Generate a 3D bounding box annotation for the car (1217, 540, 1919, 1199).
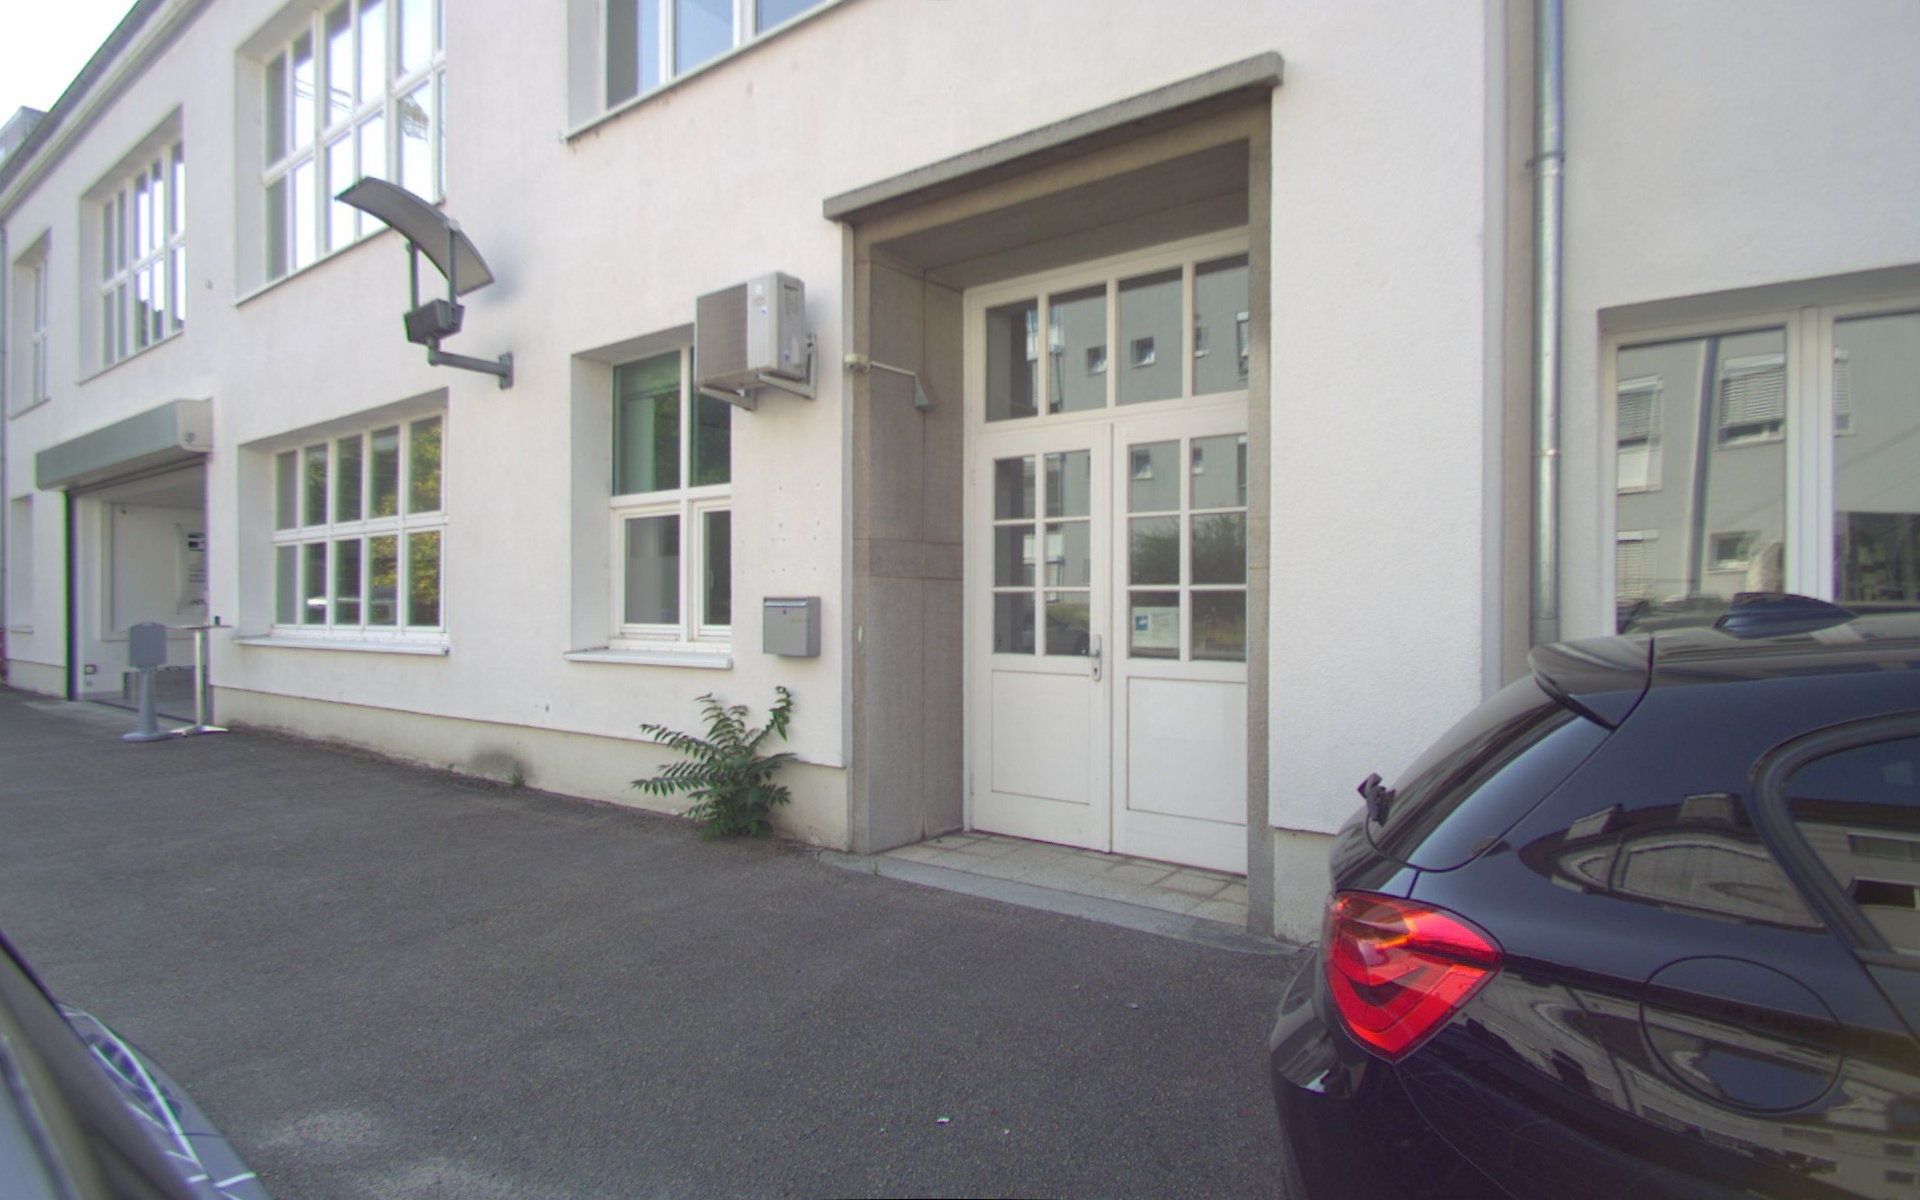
[{"bbox_3d":[2.569,0.638,1.027,4.126,1.439,1.778,-1,0,35],"label":"car"}]
